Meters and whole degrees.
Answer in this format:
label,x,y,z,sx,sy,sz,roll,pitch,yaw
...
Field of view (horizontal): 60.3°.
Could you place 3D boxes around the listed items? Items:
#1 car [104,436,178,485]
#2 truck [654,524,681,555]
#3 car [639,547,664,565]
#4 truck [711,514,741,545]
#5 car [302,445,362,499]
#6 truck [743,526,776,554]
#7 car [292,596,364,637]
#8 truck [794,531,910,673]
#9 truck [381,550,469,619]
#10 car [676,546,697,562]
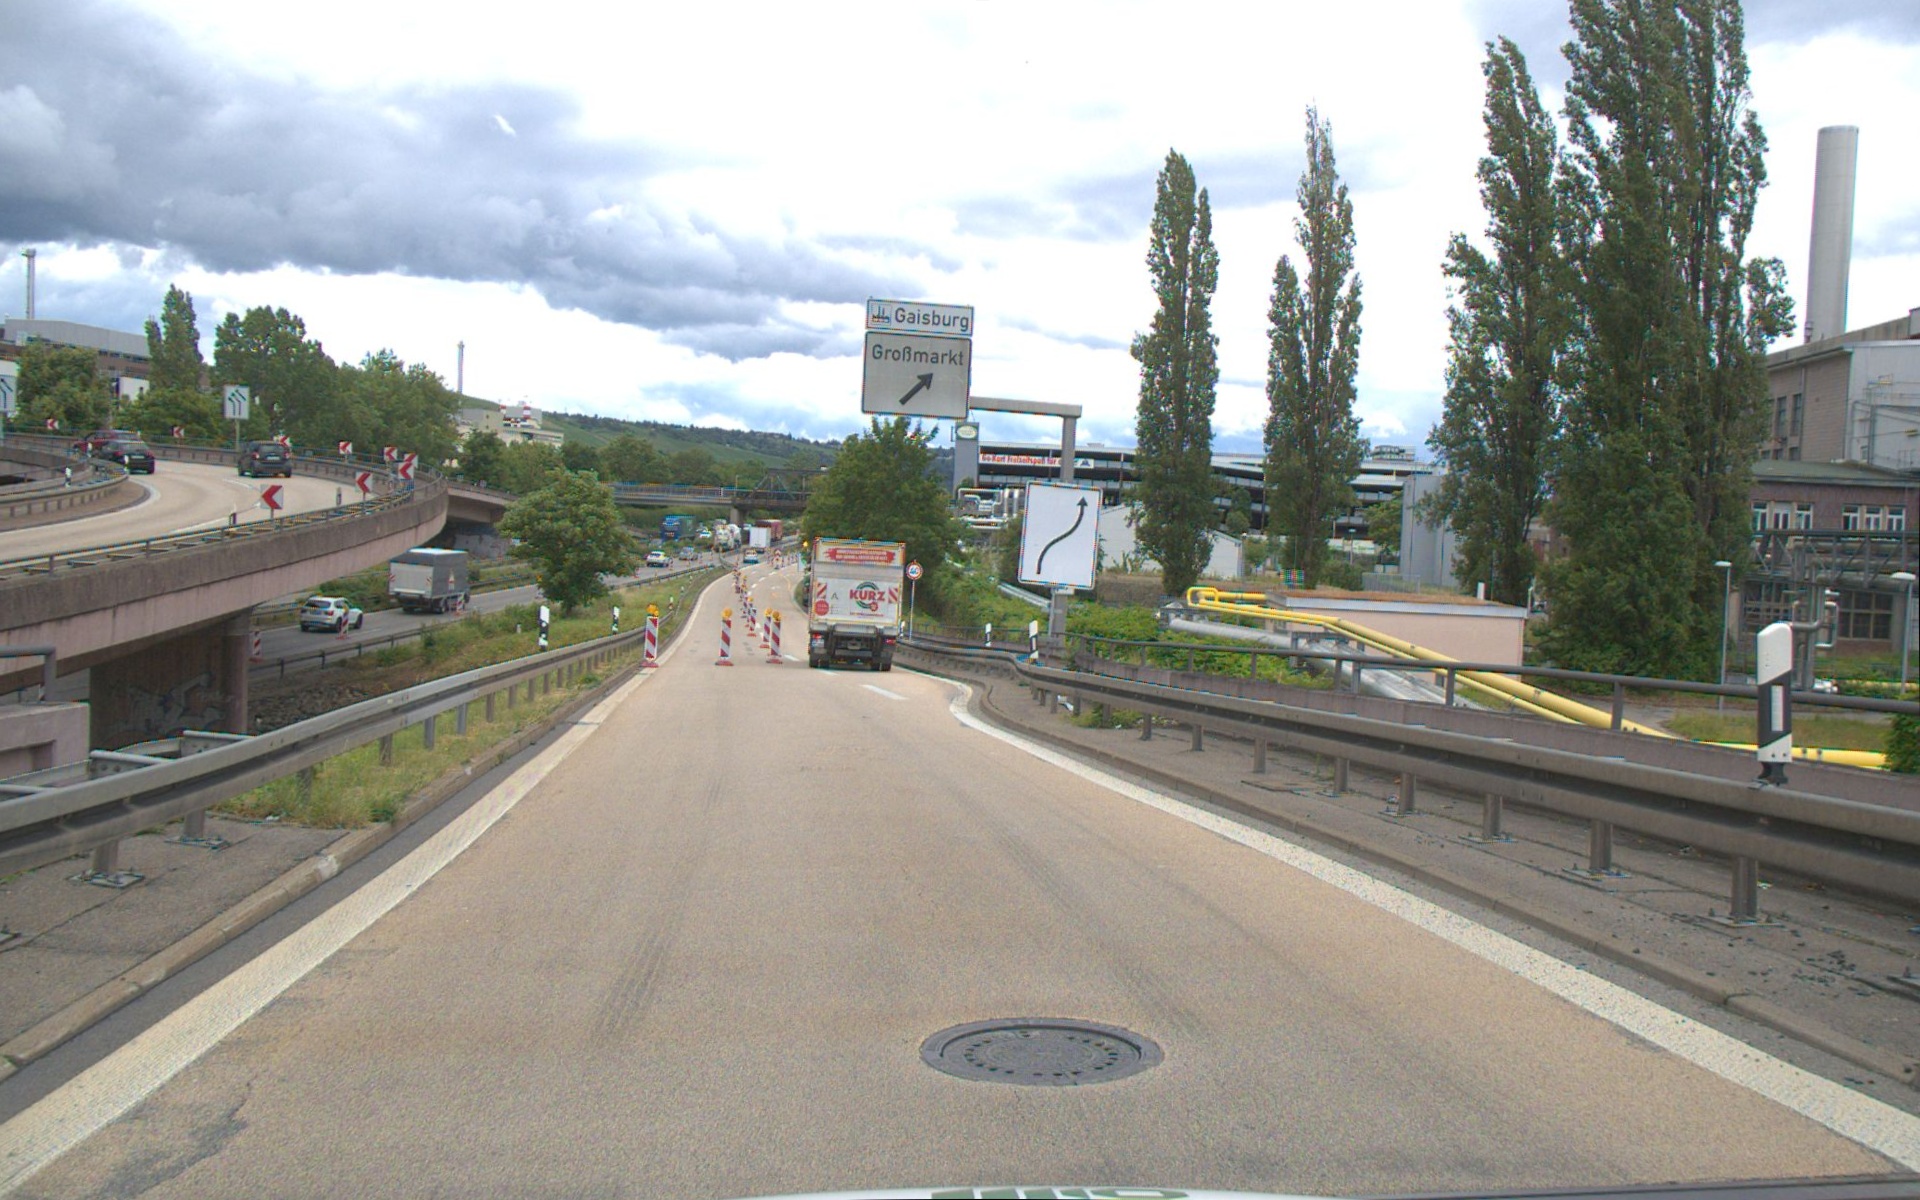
label,x,y,z,sx,sy,sz,roll,pitch,yaw
car,-36.039,-6.113,72.751,1.981,1.803,3.942,2,-1,-40
truck,-42.129,-8.750,238.096,2.696,4.345,5.504,3,2,0
car,-32.144,-4.585,172.475,1.954,1.645,3.998,3,2,-4
truck,-31.268,-9.433,221.118,3.222,3.918,7.661,3,2,-3
car,-25.836,-5.241,68.134,1.962,1.803,3.982,2,0,-17
truck,-27.472,-8.220,226.903,3.219,3.661,7.667,3,2,1
car,-31.892,0.808,83.594,1.953,1.742,4.102,3,2,1
truck,-3.291,0.065,49.091,2.992,3.737,7.918,3,0,-5
truck,-31.817,-1.016,98.724,2.990,3.718,7.393,3,2,-3
car,-31.714,-5.366,191.989,1.954,1.645,3.998,3,2,-4
